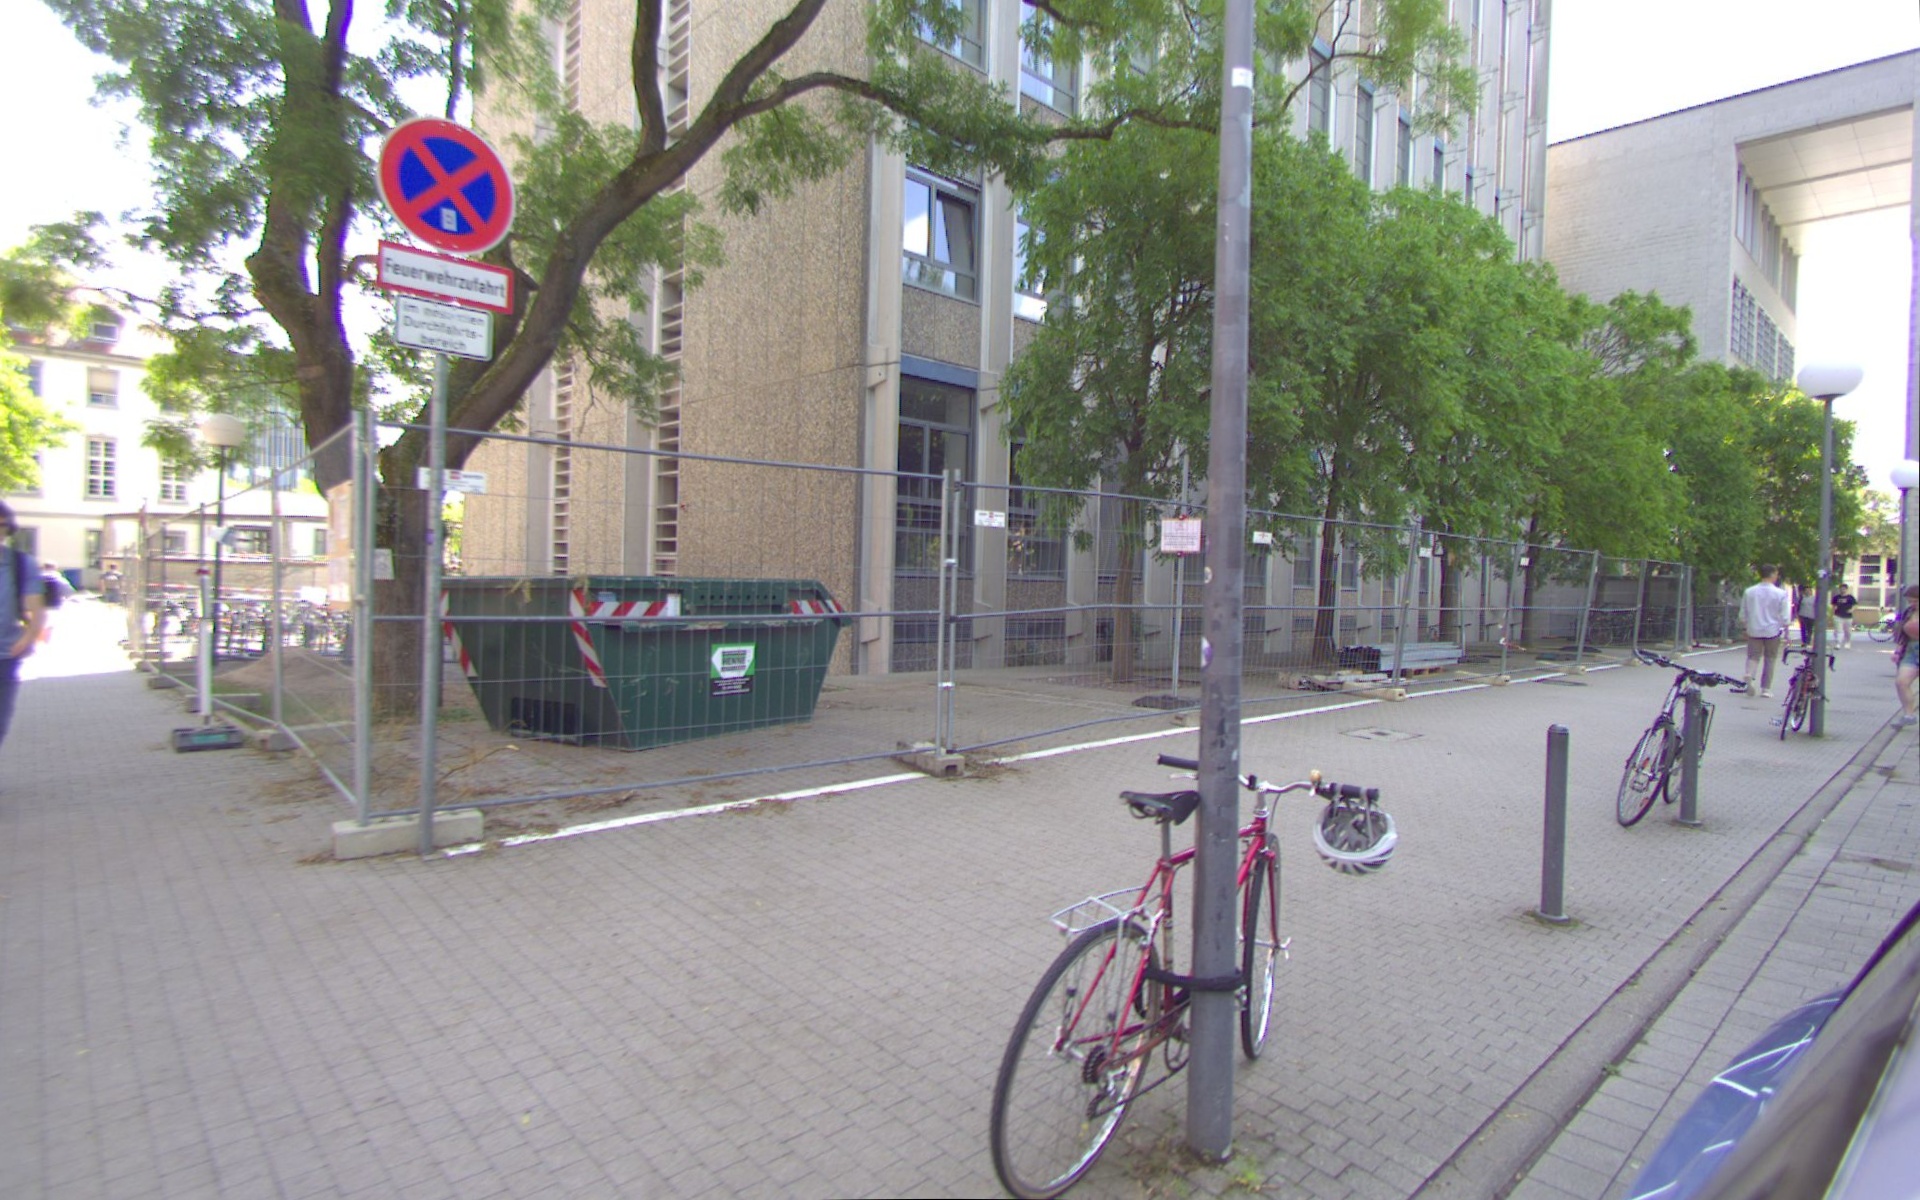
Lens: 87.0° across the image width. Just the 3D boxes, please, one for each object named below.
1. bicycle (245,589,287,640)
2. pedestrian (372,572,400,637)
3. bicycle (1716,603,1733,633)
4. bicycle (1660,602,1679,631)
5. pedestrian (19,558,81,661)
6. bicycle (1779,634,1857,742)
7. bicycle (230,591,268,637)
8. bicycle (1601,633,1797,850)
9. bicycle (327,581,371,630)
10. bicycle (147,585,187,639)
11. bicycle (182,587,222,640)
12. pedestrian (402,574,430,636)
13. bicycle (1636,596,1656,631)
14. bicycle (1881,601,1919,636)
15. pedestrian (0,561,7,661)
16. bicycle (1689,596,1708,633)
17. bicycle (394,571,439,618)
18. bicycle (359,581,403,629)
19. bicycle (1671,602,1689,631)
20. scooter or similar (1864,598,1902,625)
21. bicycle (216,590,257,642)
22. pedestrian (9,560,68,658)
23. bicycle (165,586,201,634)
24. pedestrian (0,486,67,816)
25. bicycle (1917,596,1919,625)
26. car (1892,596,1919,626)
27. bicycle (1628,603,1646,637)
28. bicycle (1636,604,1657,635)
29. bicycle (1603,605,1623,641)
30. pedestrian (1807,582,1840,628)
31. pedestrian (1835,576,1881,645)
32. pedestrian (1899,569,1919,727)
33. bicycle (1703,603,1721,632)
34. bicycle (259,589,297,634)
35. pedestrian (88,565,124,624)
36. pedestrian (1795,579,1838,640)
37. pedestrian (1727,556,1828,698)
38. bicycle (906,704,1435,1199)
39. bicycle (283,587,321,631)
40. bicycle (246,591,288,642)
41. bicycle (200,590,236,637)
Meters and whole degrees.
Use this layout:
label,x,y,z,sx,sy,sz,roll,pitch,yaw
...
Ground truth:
label,x,y,z,sx,sy,sz,roll,pitch,yaw
bicycle,-16.754,0.332,24.405,0.536,1.184,1.998,0,-1,-43
pedestrian,-14.759,0.102,26.012,0.524,1.651,0.562,0,0,-42
bicycle,24.562,0.562,32.501,0.290,0.917,1.425,2,1,43
bicycle,22.742,0.530,32.421,0.290,0.898,1.425,2,1,43
pedestrian,-15.965,0.141,17.744,0.901,1.749,0.674,2,3,43
bicycle,8.764,0.858,10.315,1.703,0.947,0.396,0,3,-44
bicycle,-18.979,0.362,27.002,0.536,1.184,1.998,0,-1,-43
bicycle,4.686,0.801,6.371,1.720,1.106,0.709,0,1,-44
bicycle,-15.519,0.135,25.691,0.536,1.184,1.998,0,-1,-43
bicycle,-18.054,0.260,23.023,0.536,1.184,1.998,0,-1,-43
bicycle,-17.653,0.305,23.548,0.536,1.184,1.998,0,-1,-43
pedestrian,-14.495,0.124,26.977,0.553,1.633,0.532,0,0,-42
bicycle,22.306,0.416,32.893,0.290,1.113,1.425,2,1,43
bicycle,30.499,0.611,32.203,1.738,1.052,0.442,3,1,43
pedestrian,-17.453,0.196,17.963,0.901,1.749,0.674,2,3,43
bicycle,23.288,0.438,31.914,0.290,1.142,1.425,2,1,43
bicycle,-14.368,-0.138,26.730,0.536,1.184,1.998,0,-1,-43
bicycle,-14.936,0.130,26.102,0.536,1.184,1.998,0,-1,-43
bicycle,23.839,0.532,33.498,0.290,0.917,1.425,2,1,43
scooter or similar,41.320,0.495,45.314,0.436,1.165,1.158,1,1,-38
bicycle,-17.194,0.361,24.038,0.536,1.184,1.998,0,-1,-43
pedestrian,-16.940,0.140,18.604,0.901,1.749,0.674,2,3,43
bicycle,-19.891,0.261,25.881,0.536,1.184,1.998,0,-1,-43
pedestrian,-5.340,0.256,5.430,0.690,1.672,1.048,-1,1,-35
bicycle,39.558,0.477,40.414,1.880,1.178,0.595,4,2,43
car,50.584,0.600,52.063,1.626,1.494,3.772,-2,3,-43
bicycle,19.246,0.567,28.765,0.290,0.917,1.780,2,1,38
bicycle,21.034,0.602,31.013,0.290,0.917,1.425,2,1,43
bicycle,17.675,0.614,27.371,0.290,0.917,1.596,2,1,38
pedestrian,34.826,0.183,40.841,0.955,1.837,0.760,0,0,37
pedestrian,24.496,0.266,27.616,0.697,1.826,0.874,2,0,29
pedestrian,10.939,0.527,11.270,0.719,1.746,0.684,0,0,-45
bicycle,24.422,0.549,32.852,0.290,0.917,1.425,2,1,43
bicycle,-18.498,0.315,27.418,0.536,1.184,1.998,0,-1,-43
pedestrian,-25.876,-0.180,30.648,0.901,1.749,0.674,2,3,43
pedestrian,24.033,0.253,28.412,0.697,1.676,0.874,2,0,29
pedestrian,11.213,0.351,13.921,0.777,1.868,1.109,0,0,23
bicycle,0.668,0.857,2.688,1.711,0.973,0.451,0,4,-44
bicycle,-18.225,0.238,28.018,0.536,1.184,1.998,0,-1,-43
bicycle,-16.702,0.391,24.370,0.536,1.184,1.998,0,-1,-43
bicycle,-19.385,0.356,26.427,0.536,1.184,1.998,0,-1,-43
